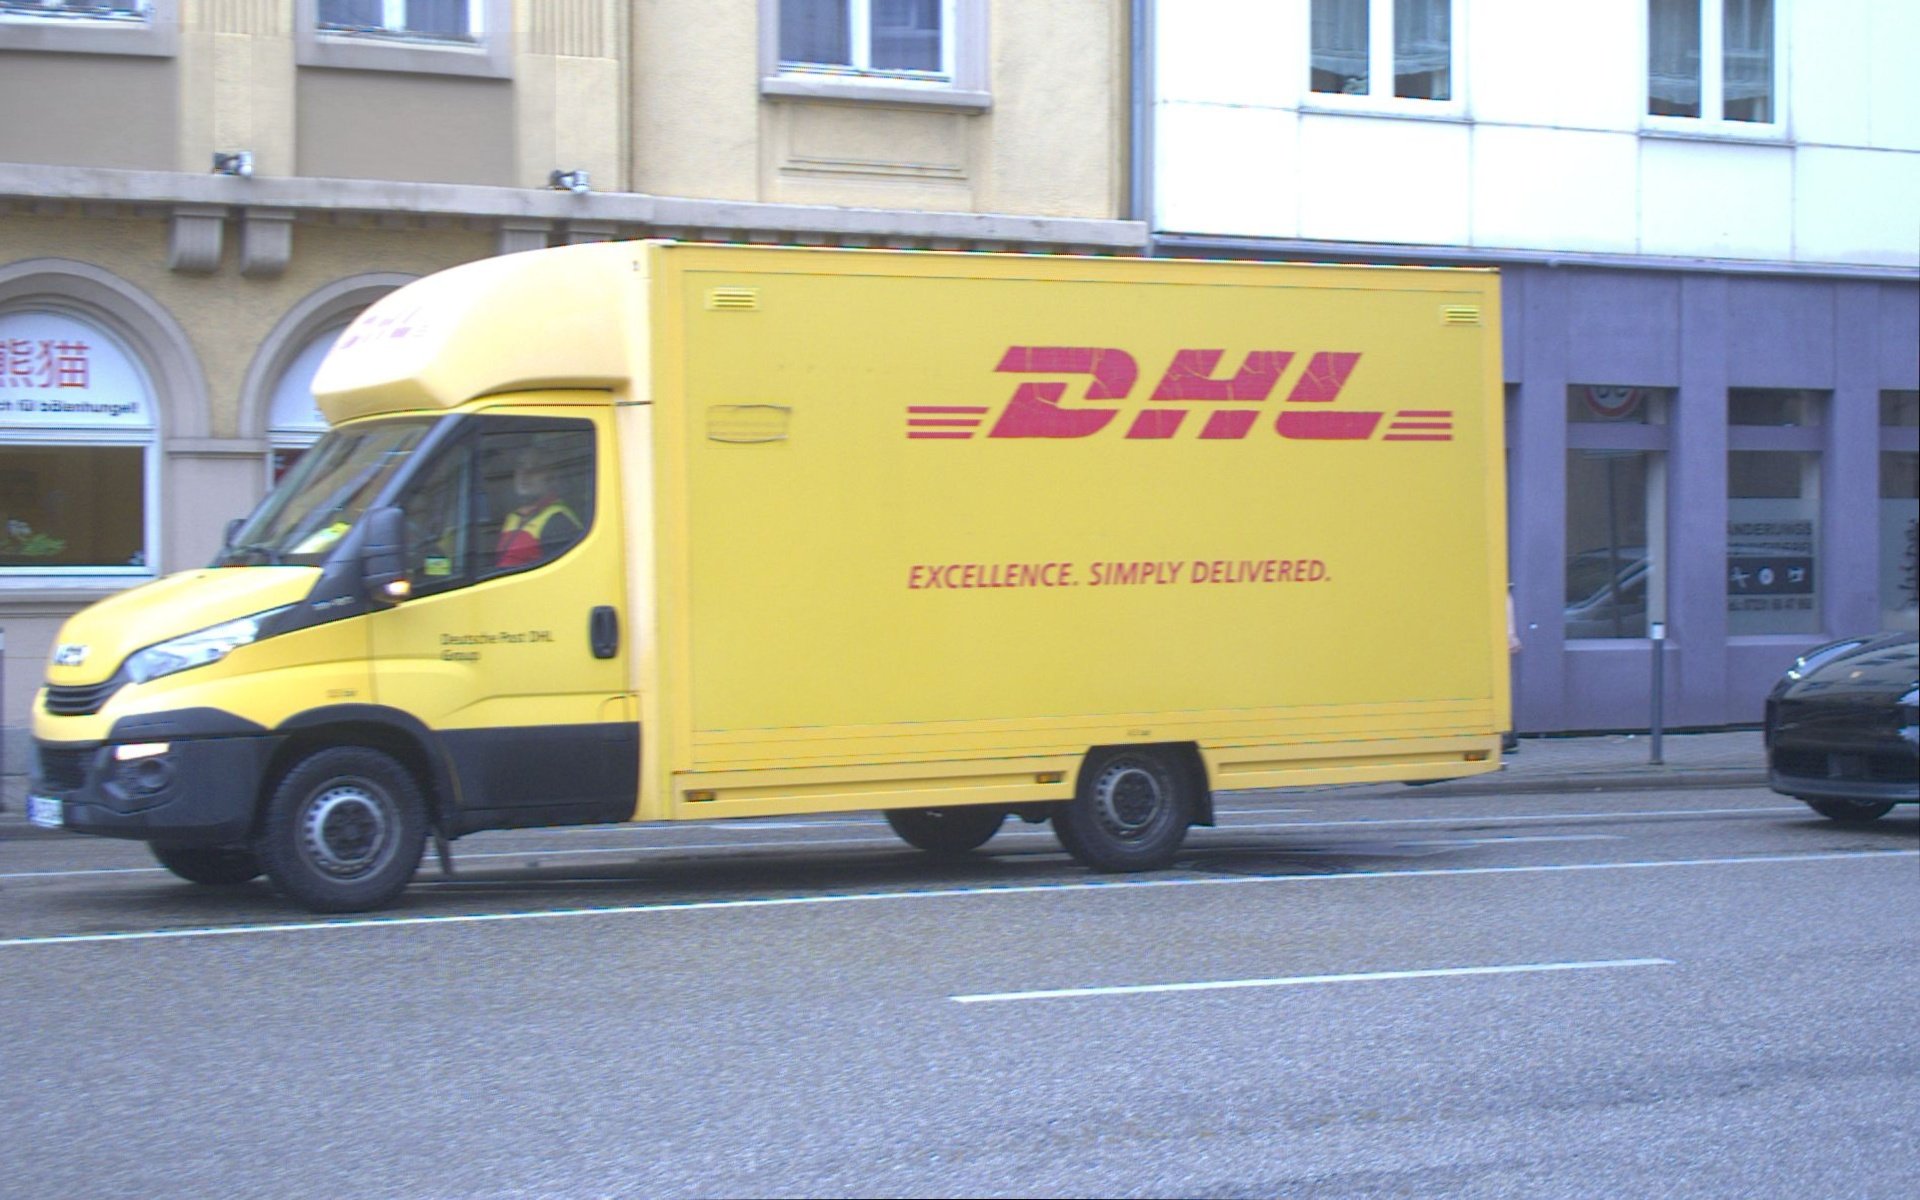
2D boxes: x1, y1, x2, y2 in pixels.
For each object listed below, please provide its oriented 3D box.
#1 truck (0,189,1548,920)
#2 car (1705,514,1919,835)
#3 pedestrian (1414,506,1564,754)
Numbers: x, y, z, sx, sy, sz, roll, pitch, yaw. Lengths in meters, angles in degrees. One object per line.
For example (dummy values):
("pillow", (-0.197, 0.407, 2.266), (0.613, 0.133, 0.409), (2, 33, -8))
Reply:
("truck", (-0.759, -0.198, 15.967), (7.090, 2.841, 2.083), (0, 0, -28))
("car", (6.808, 0.369, 19.712), (4.810, 1.679, 2.000), (0, 1, -28))
("pedestrian", (3.886, 0.213, 25.293), (0.790, 1.785, 0.763), (0, 0, -28))
